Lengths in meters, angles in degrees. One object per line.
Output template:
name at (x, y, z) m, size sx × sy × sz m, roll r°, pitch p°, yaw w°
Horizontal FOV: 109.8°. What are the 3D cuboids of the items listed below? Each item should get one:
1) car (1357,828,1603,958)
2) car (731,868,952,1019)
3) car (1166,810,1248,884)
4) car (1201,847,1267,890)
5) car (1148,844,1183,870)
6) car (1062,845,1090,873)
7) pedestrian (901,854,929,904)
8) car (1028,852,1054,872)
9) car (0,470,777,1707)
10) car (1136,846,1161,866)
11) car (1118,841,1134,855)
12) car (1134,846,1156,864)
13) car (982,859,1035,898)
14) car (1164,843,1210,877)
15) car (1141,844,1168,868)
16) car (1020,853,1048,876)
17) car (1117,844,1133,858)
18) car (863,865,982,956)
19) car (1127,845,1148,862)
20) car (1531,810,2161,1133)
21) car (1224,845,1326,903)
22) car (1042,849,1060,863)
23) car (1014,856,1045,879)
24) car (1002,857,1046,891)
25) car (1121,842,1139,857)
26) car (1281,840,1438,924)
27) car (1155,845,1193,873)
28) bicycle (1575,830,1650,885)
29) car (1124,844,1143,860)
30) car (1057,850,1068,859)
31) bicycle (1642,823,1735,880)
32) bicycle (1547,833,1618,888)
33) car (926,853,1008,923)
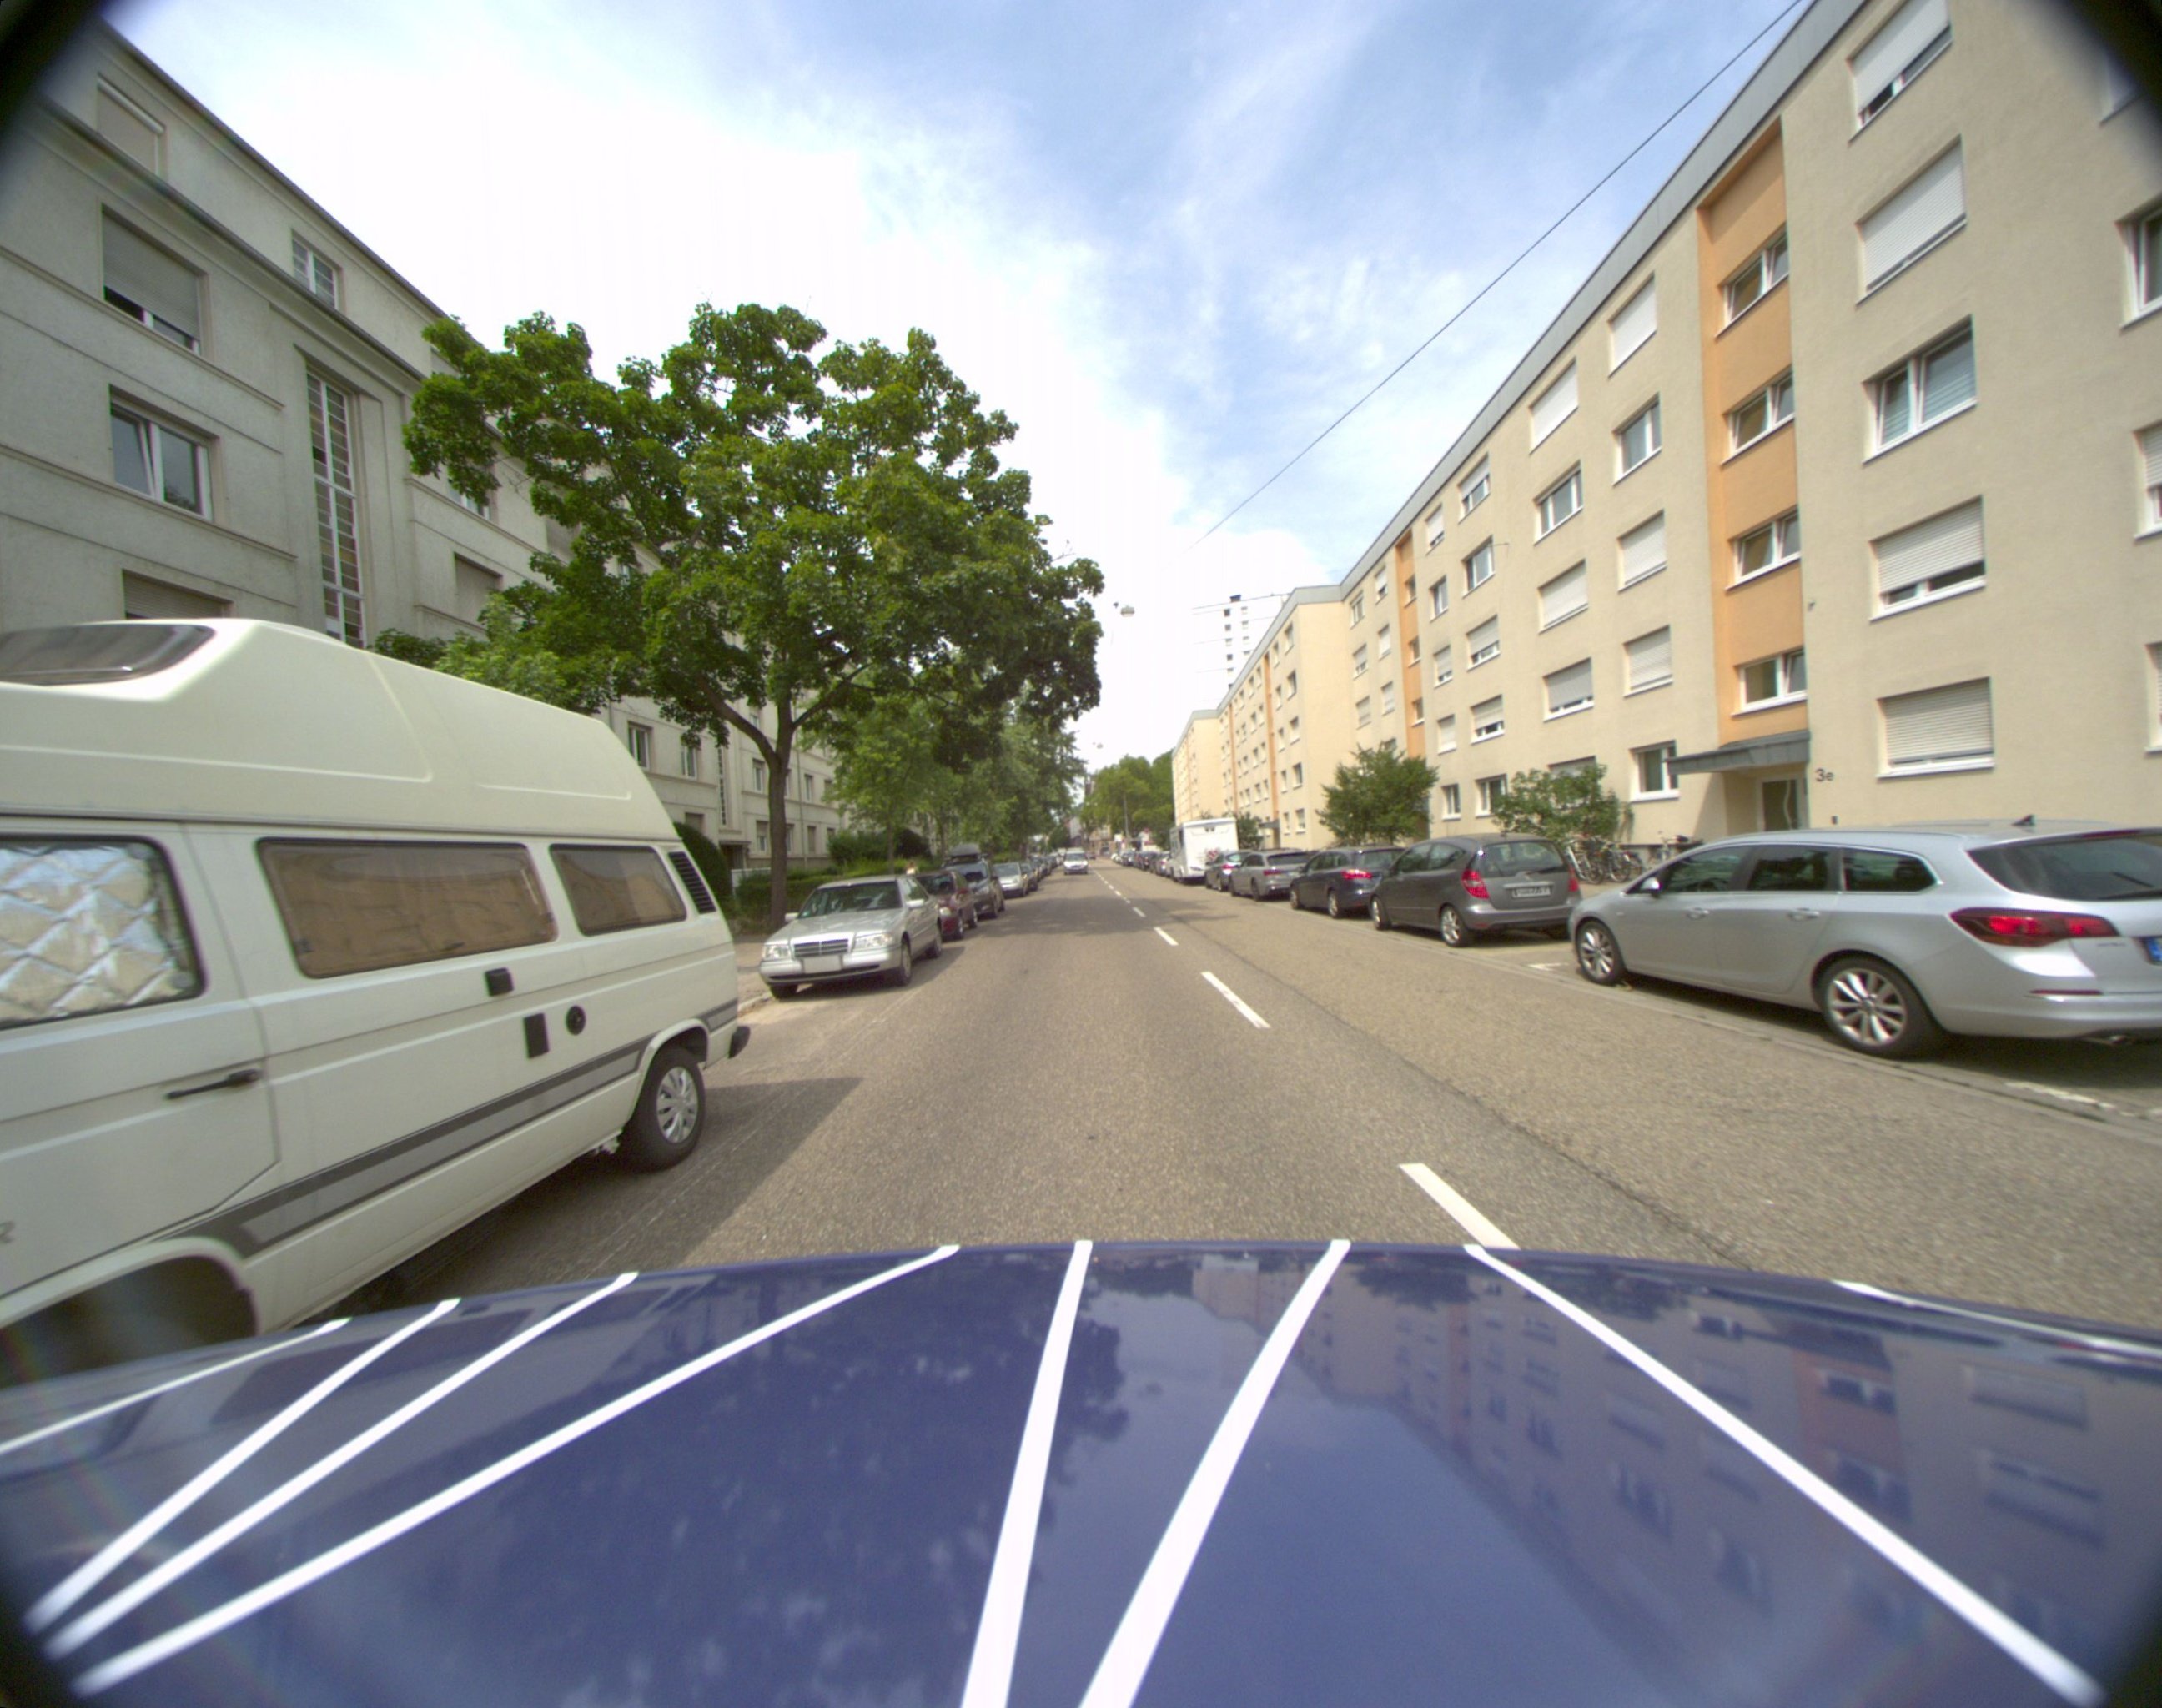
car at (5.972, 0.492, 11.945) m, size 1.722 × 1.615 × 3.838 m, roll -4°, pitch 1°, yaw -1°
car at (-3.093, 1.048, 10.895) m, size 1.676 × 1.442 × 4.643 m, roll -5°, pitch 1°, yaw -1°
car at (5.741, -0.318, 35.660) m, size 2.621 × 3.040 × 7.113 m, roll -2°, pitch 0°, yaw 0°
car at (5.753, 0.506, 29.015) m, size 1.616 × 1.475 × 4.057 m, roll -2°, pitch 1°, yaw -1°
car at (5.897, 0.188, 53.270) m, size 1.844 × 1.670 × 4.217 m, roll -2°, pitch 1°, yaw -1°
car at (-0.327, 0.339, 57.494) m, size 1.998 × 2.002 × 3.999 m, roll -2°, pitch 1°, yaw 0°
pedestrian at (-6.121, 0.905, 28.108) m, size 0.808 × 1.794 × 0.763 m, roll -2°, pitch 1°, yaw 0°
car at (-3.042, 0.597, 58.653) m, size 1.676 × 1.369 × 3.785 m, roll -5°, pitch 1°, yaw 0°
car at (-3.116, 0.548, 2.573) m, size 1.900 × 2.587 × 4.904 m, roll -6°, pitch 1°, yaw 0°
car at (5.735, 0.121, 65.105) m, size 1.730 × 1.608 × 3.894 m, roll -2°, pitch 1°, yaw 0°
car at (5.542, -0.744, 93.695) m, size 1.806 × 1.625 × 3.894 m, roll -2°, pitch 1°, yaw 0°
car at (5.845, 0.046, 69.399) m, size 1.665 × 1.547 × 3.894 m, roll -2°, pitch 1°, yaw 0°
car at (-2.906, 0.942, 31.208) m, size 1.676 × 1.392 × 3.785 m, roll -2°, pitch 1°, yaw 2°
car at (5.895, 0.309, 42.534) m, size 1.998 × 1.729 × 3.836 m, roll -2°, pitch 1°, yaw 0°
car at (5.773, 0.105, 59.742) m, size 1.723 × 1.787 × 3.894 m, roll -2°, pitch 1°, yaw 0°
car at (-3.223, 0.698, 53.091) m, size 1.676 × 1.369 × 3.784 m, roll -5°, pitch 1°, yaw -1°
car at (5.671, -0.407, 98.627) m, size 1.806 × 1.625 × 3.894 m, roll -2°, pitch 1°, yaw 0°
car at (-3.181, 1.077, 15.994) m, size 1.676 × 1.445 × 3.784 m, roll -5°, pitch 1°, yaw -1°
car at (5.742, -0.062, 77.646) m, size 1.806 × 1.625 × 3.894 m, roll -2°, pitch 1°, yaw 0°
car at (5.897, 0.580, 6.174) m, size 1.791 × 1.554 × 4.551 m, roll -5°, pitch 0°, yaw 2°
car at (5.786, 0.519, 23.201) m, size 1.722 × 1.498 × 4.624 m, roll -3°, pitch 1°, yaw -2°
car at (-3.269, 0.204, 82.108) m, size 1.676 × 1.369 × 3.785 m, roll -5°, pitch 1°, yaw 0°
car at (-3.209, 0.814, 47.933) m, size 1.676 × 1.235 × 3.784 m, roll -5°, pitch 1°, yaw -1°
car at (-2.663, 0.925, 36.174) m, size 1.676 × 1.445 × 3.785 m, roll -2°, pitch 1°, yaw 2°
car at (5.633, -0.551, 88.148) m, size 1.806 × 1.625 × 3.894 m, roll -2°, pitch 1°, yaw 0°
car at (5.917, 0.517, 16.740) m, size 1.681 × 1.495 × 4.263 m, roll -4°, pitch 1°, yaw -2°
car at (5.798, 0.276, 47.720) m, size 1.853 × 1.623 × 4.217 m, roll -2°, pitch 1°, yaw 0°
bicycle at (12.673, 0.063, 18.194) m, size 0.533 × 1.200 × 2.018 m, roll -5°, pitch 1°, yaw 8°
car at (5.717, -0.216, 82.628) m, size 1.806 × 1.625 × 3.894 m, roll -2°, pitch 1°, yaw 0°
car at (-2.949, 0.093, 121.799) m, size 1.676 × 1.369 × 3.785 m, roll -5°, pitch 1°, yaw 0°
bicycle at (13.943, -0.064, 17.519) m, size 0.534 × 1.200 × 2.018 m, roll -5°, pitch 1°, yaw 2°
bicycle at (12.032, 0.135, 18.309) m, size 0.533 × 1.200 × 2.018 m, roll -6°, pitch 1°, yaw 8°
car at (-3.059, 0.859, 21.148) m, size 1.676 × 1.666 × 4.270 m, roll -2°, pitch 1°, yaw -1°
